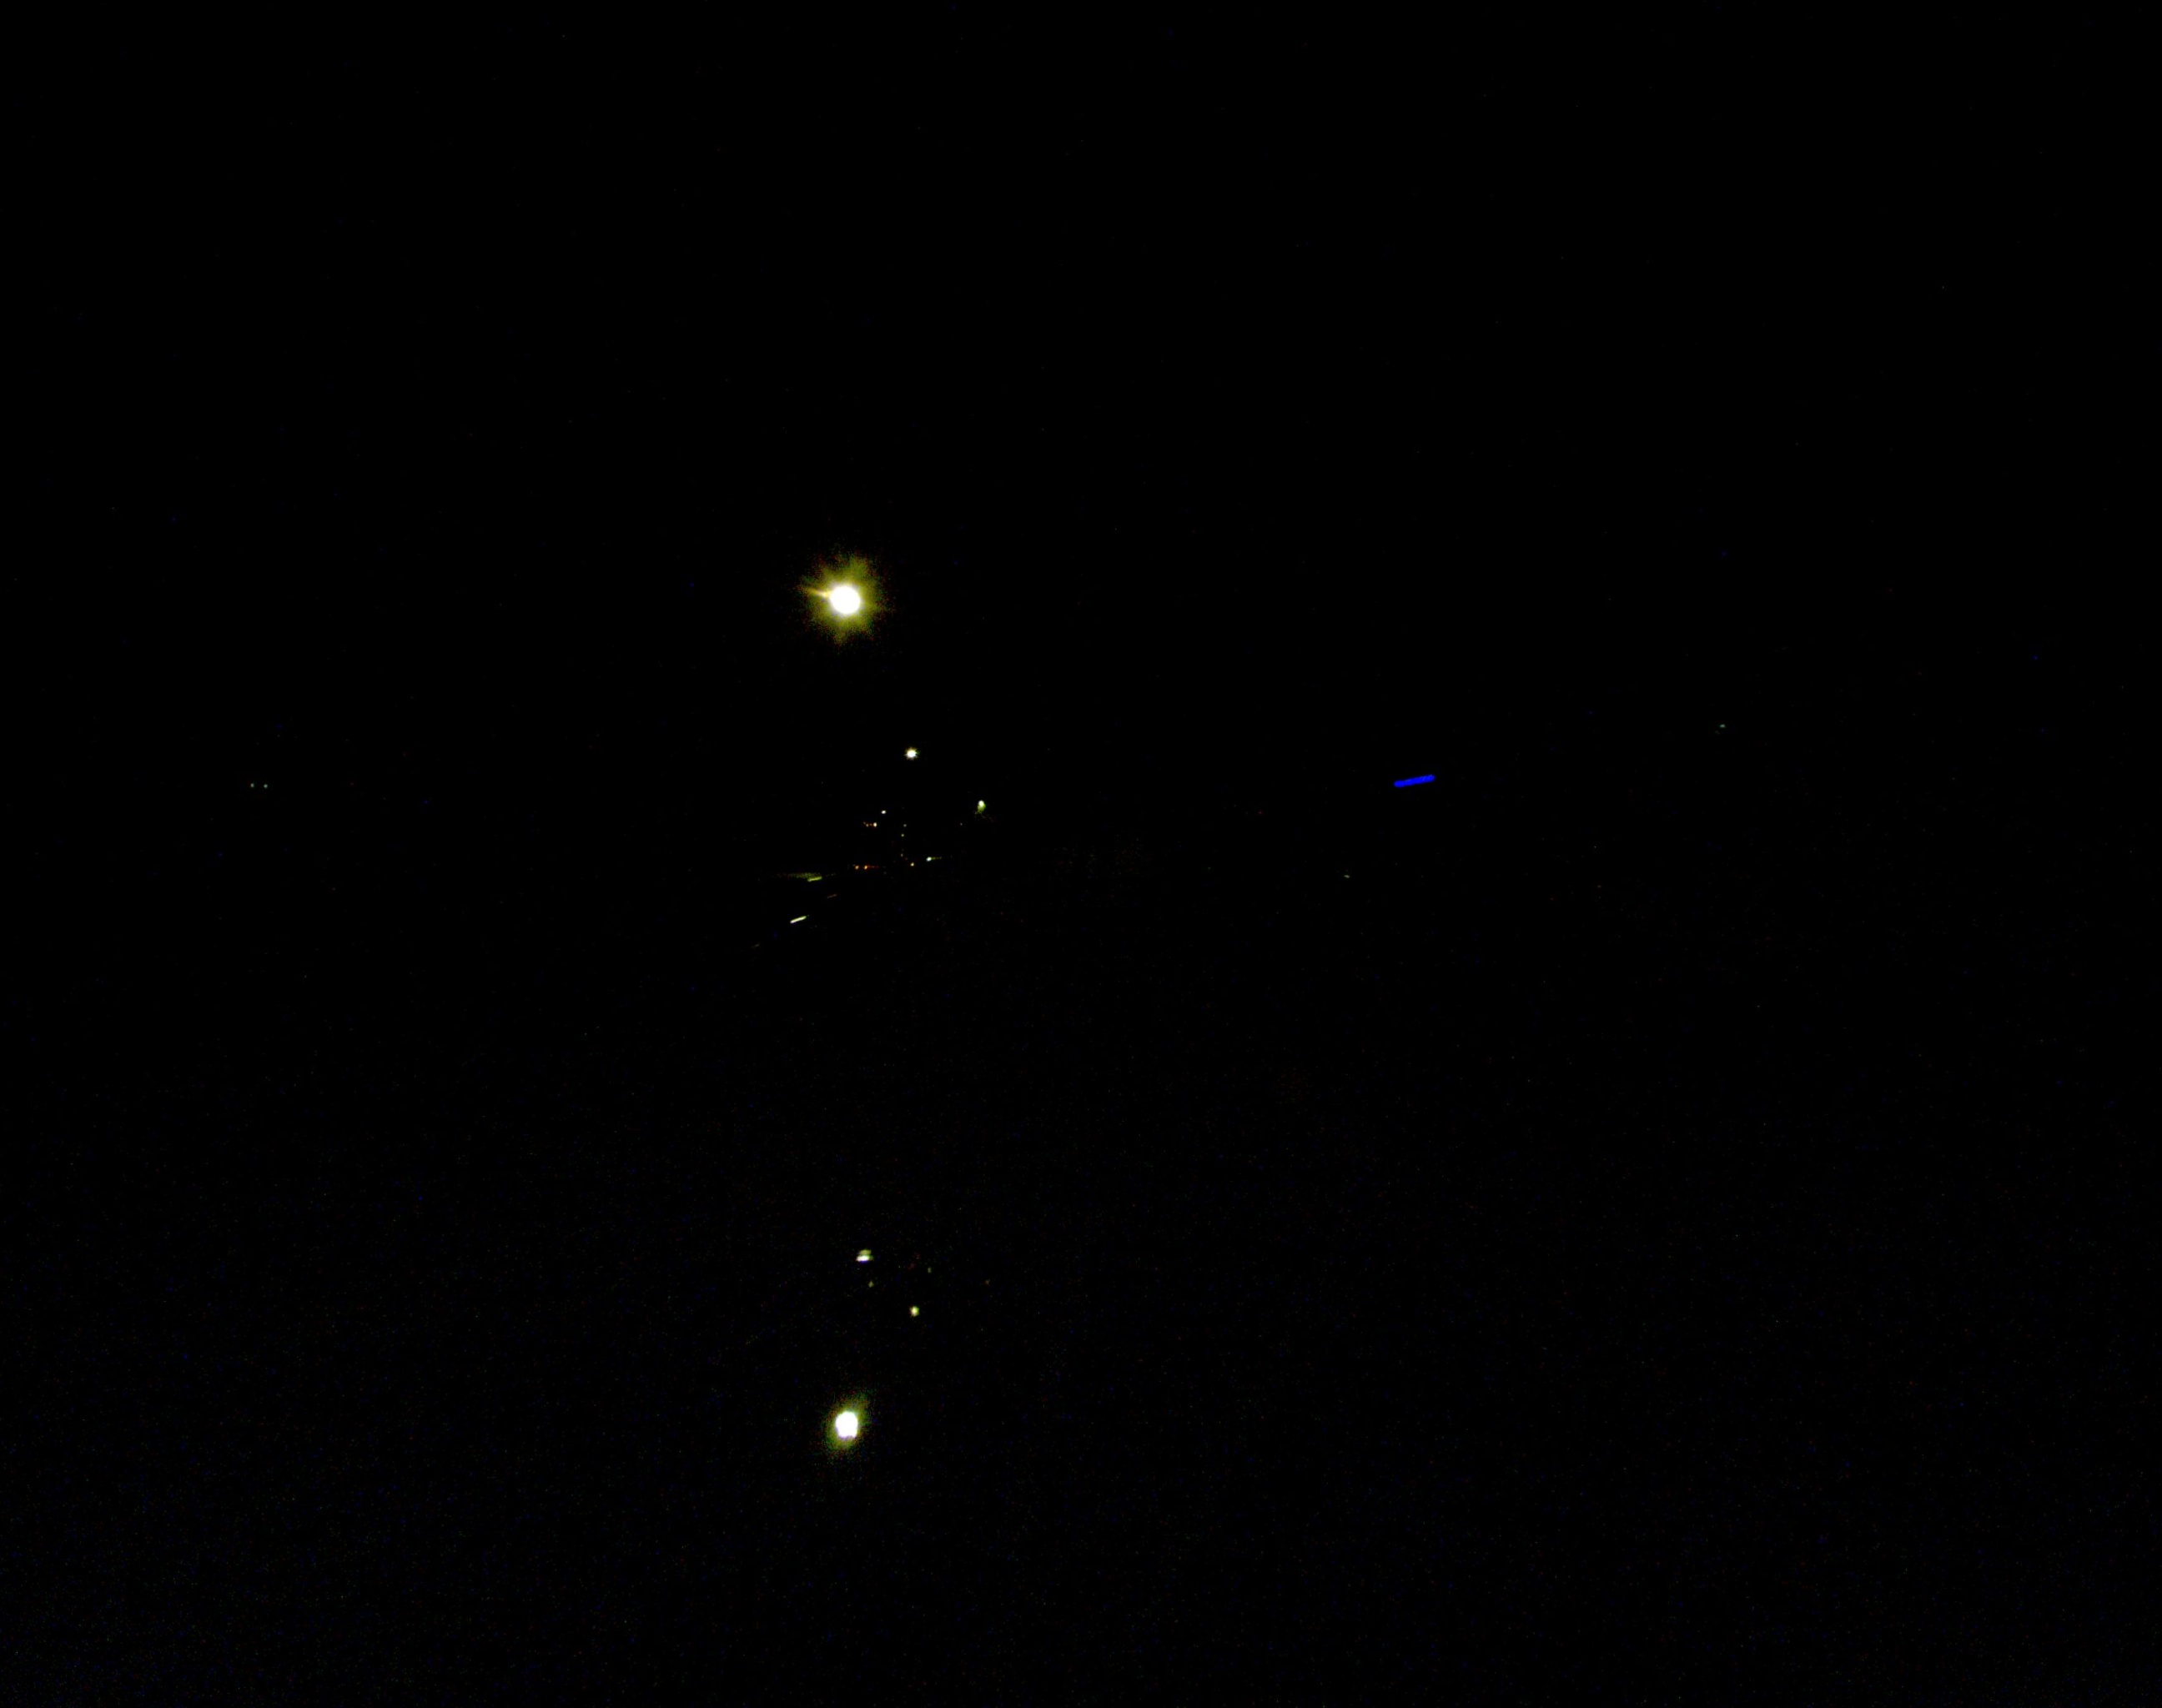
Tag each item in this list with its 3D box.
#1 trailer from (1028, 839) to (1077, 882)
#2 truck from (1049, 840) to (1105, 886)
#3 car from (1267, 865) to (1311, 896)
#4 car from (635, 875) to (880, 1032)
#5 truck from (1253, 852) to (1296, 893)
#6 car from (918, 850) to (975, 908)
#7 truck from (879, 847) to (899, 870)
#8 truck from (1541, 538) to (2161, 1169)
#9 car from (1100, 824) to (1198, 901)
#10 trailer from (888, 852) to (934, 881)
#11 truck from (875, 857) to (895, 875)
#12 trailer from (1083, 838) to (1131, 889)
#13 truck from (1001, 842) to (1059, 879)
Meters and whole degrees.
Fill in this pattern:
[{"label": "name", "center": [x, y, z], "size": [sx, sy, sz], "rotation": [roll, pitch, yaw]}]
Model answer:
[{"label": "trailer", "center": [-2.305, 0.537, 58.466], "size": [2.491, 3.054, 7.946], "rotation": [-1, -1, -11]}, {"label": "truck", "center": [-0.399, 0.560, 49.701], "size": [2.001, 2.767, 7.236], "rotation": [-1, -1, -14]}, {"label": "car", "center": [11.698, 1.437, 42.918], "size": [1.861, 1.630, 4.003], "rotation": [0, 0, 7]}, {"label": "car", "center": [-3.995, 1.131, 10.119], "size": [1.612, 1.503, 3.825], "rotation": [-3, 0, -1]}, {"label": "truck", "center": [12.902, 1.184, 50.964], "size": [2.136, 2.597, 7.104], "rotation": [0, 0, 9]}, {"label": "car", "center": [-5.350, 0.955, 30.553], "size": [2.000, 2.001, 5.351], "rotation": [-3, 0, -9]}, {"label": "truck", "center": [-32.123, 0.792, 127.049], "size": [3.060, 3.601, 9.589], "rotation": [-1, -1, -14]}, {"label": "truck", "center": [6.724, -0.005, 5.528], "size": [2.379, 3.224, 7.232], "rotation": [-1, 0, 0]}, {"label": "car", "center": [3.023, 0.389, 36.025], "size": [2.391, 3.224, 7.223], "rotation": [-1, 0, -14]}, {"label": "trailer", "center": [-12.448, 0.905, 55.459], "size": [1.498, 2.001, 4.973], "rotation": [-1, -1, -34]}, {"label": "truck", "center": [-28.370, 1.708, 110.004], "size": [2.408, 2.555, 6.400], "rotation": [0, -1, -11]}, {"label": "trailer", "center": [1.411, 0.570, 43.126], "size": [2.003, 2.749, 3.997], "rotation": [1, -1, -9]}, {"label": "truck", "center": [-4.804, 0.581, 68.956], "size": [2.755, 3.047, 9.322], "rotation": [-1, 0, -20]}]
